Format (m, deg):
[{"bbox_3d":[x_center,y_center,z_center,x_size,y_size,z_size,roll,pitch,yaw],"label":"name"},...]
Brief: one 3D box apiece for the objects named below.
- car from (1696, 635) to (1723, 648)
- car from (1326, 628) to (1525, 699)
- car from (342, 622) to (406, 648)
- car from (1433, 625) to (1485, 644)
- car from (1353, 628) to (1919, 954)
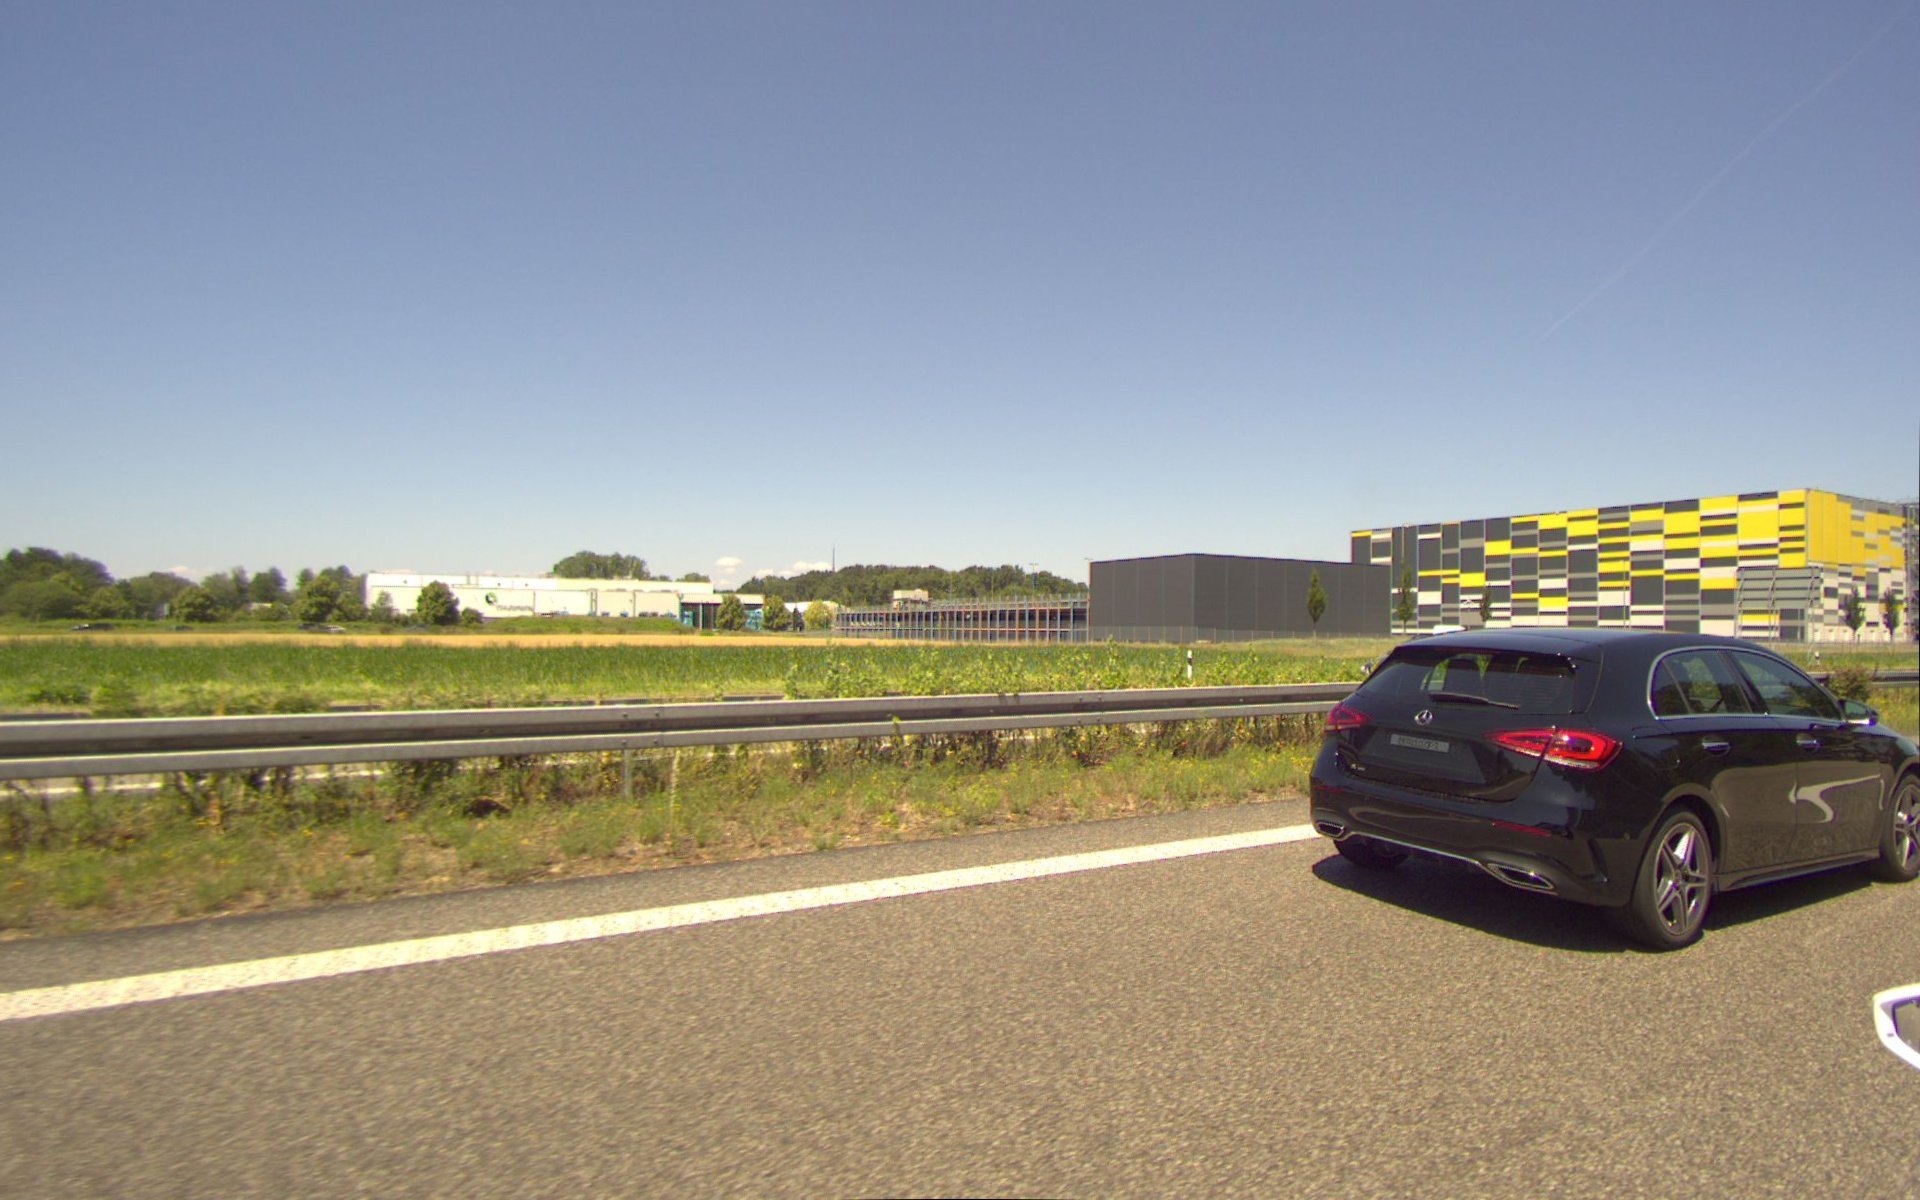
[{"bbox_3d":[103.924,5.770,139.206,4.066,1.750,1.675,2,-2,-32],"label":"car"},{"bbox_3d":[12.300,1.633,26.448,5.486,1.702,1.985,2,-2,-30],"label":"car"},{"bbox_3d":[-43.401,2.614,74.509,3.951,1.851,1.985,2,-2,-29],"label":"car"},{"bbox_3d":[59.946,4.153,120.650,5.506,2.206,2.106,-1,-2,28],"label":"car"},{"bbox_3d":[4.538,0.927,6.285,4.005,1.430,1.784,2,-1,-30],"label":"car"}]
